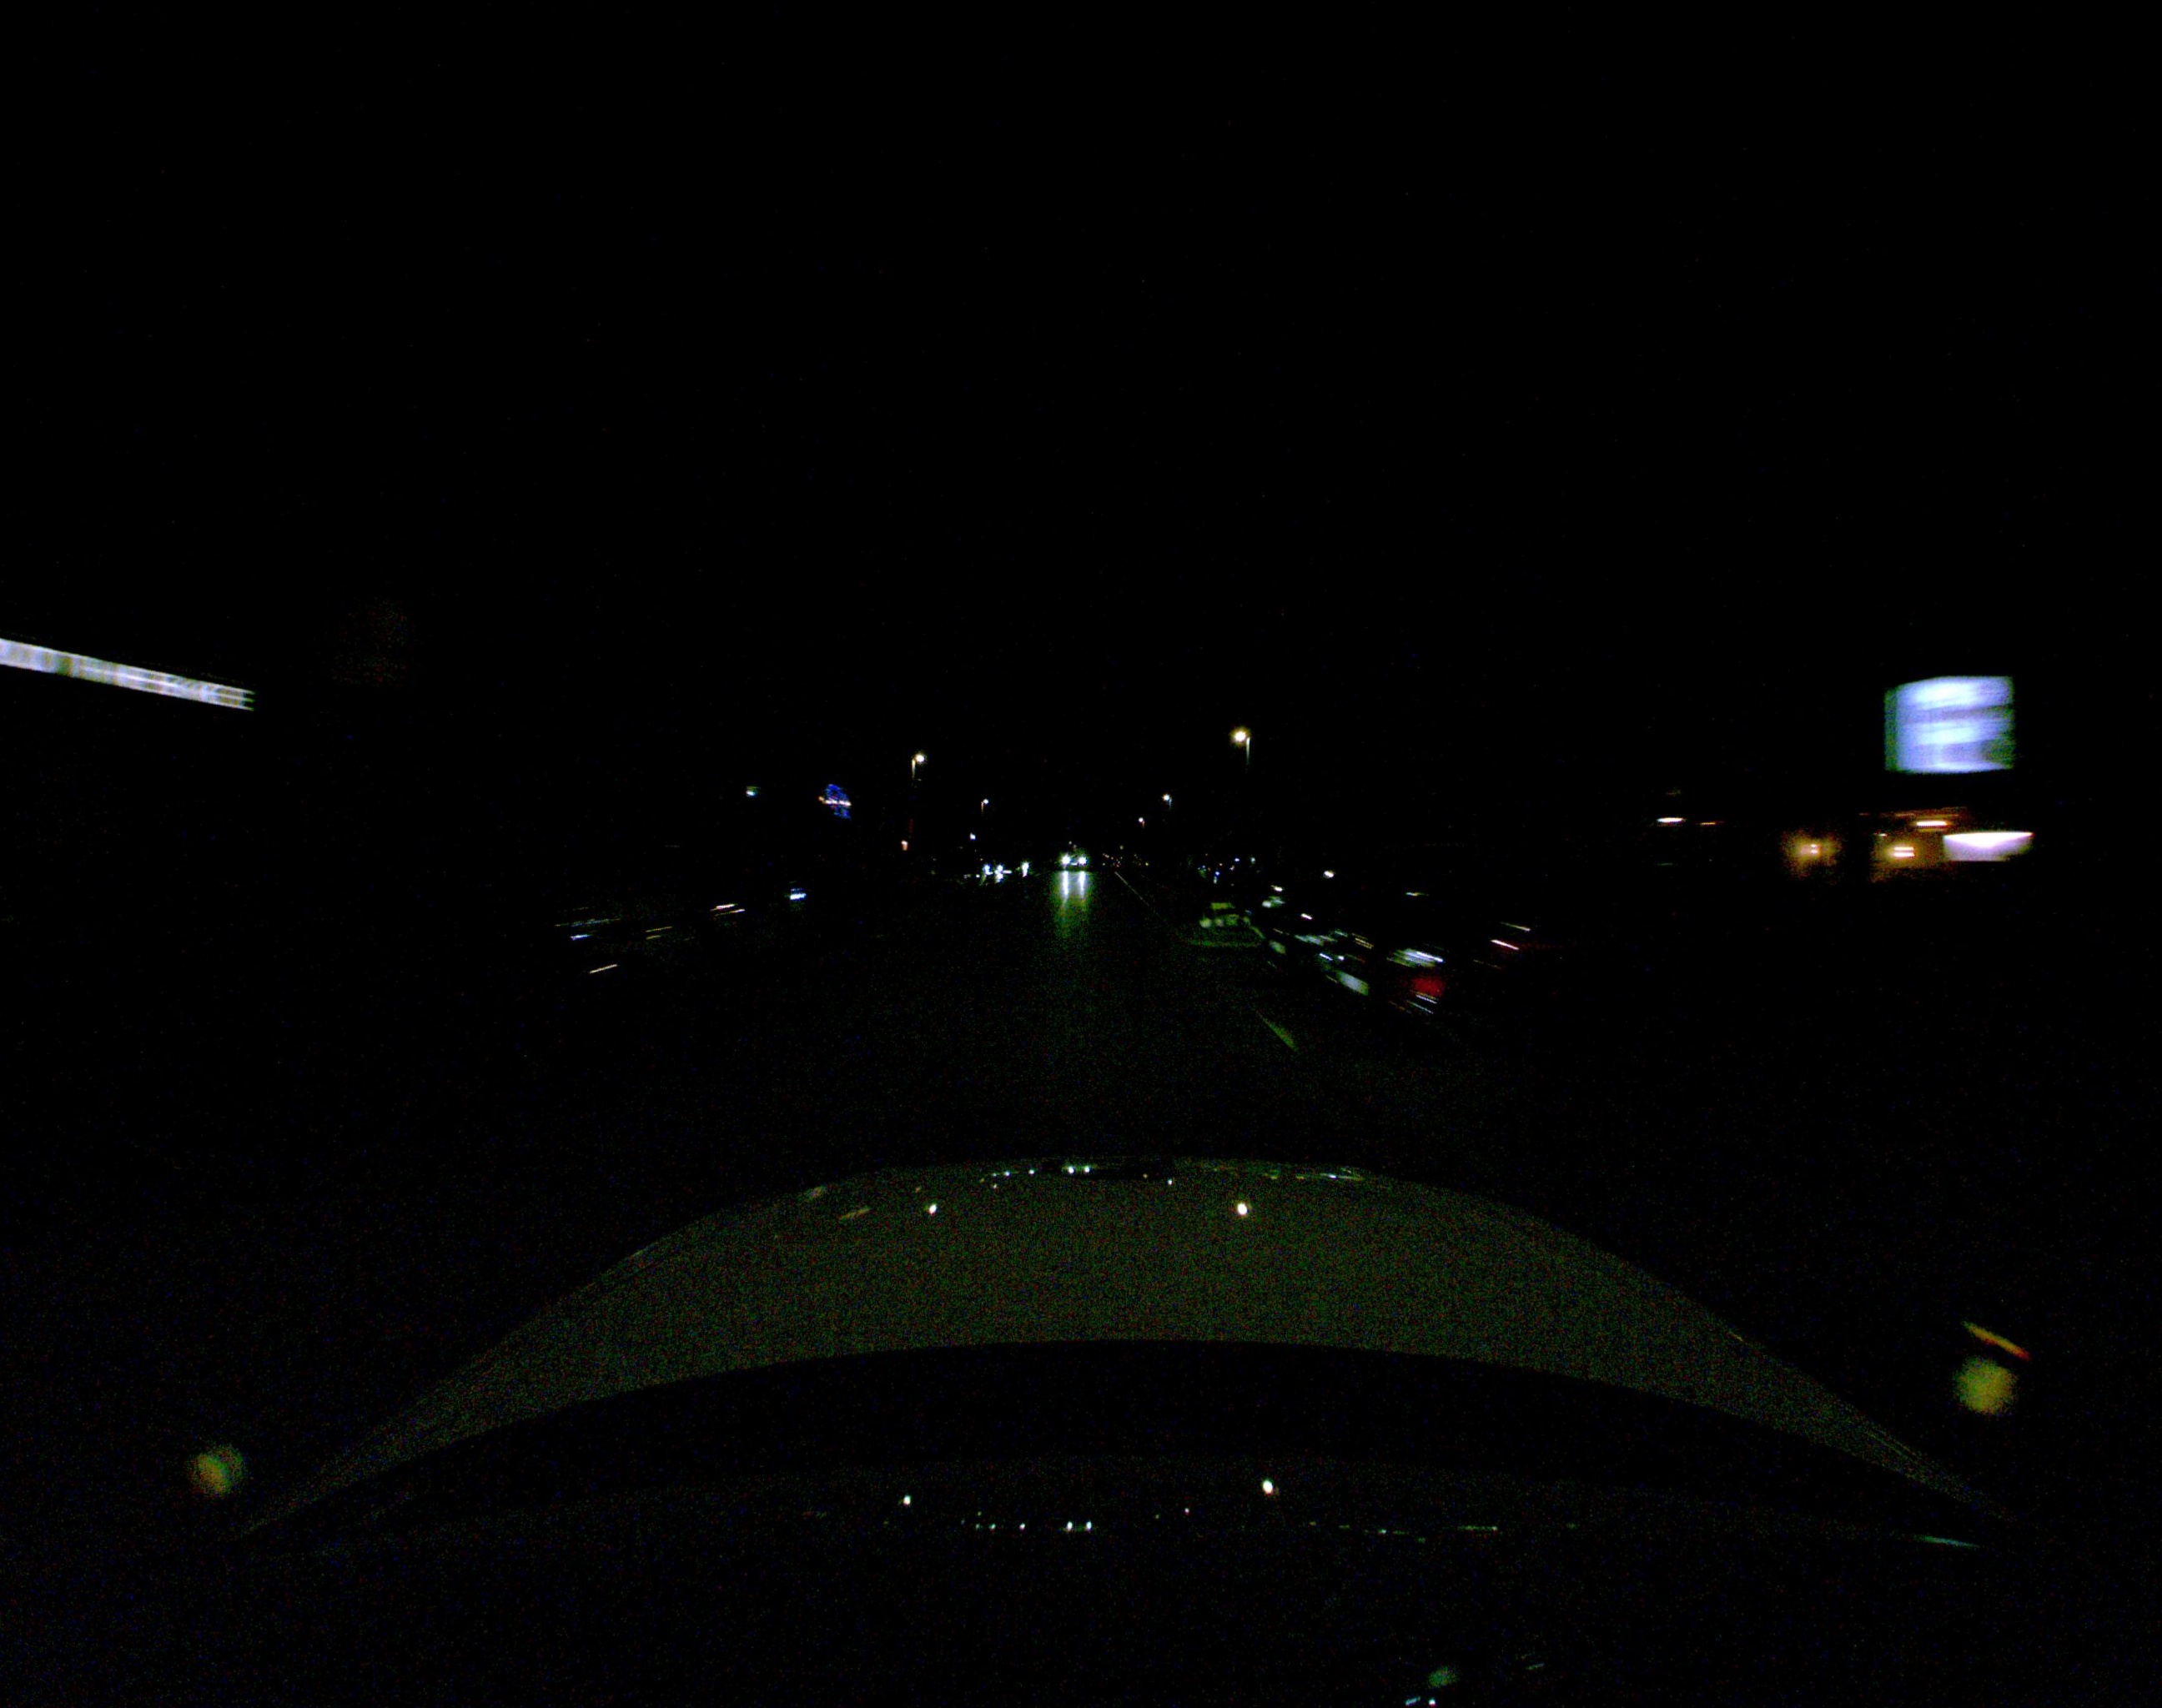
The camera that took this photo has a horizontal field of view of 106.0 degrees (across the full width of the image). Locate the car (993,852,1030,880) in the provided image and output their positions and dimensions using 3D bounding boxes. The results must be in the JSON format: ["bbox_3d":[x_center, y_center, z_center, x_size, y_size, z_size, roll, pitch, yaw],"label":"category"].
[{"bbox_3d":[-3.948,0.652,46.721,1.743,1.468,4.008,2,0,0],"label":"car"}]

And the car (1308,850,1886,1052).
[{"bbox_3d":[4.182,0.752,7.118,3.903,1.514,1.854,0,-1,0],"label":"car"}]

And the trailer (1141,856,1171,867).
[{"bbox_3d":[9.057,0.900,98.831,3.420,1.002,1.954,4,0,0],"label":"trailer"}]

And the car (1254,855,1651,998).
[{"bbox_3d":[4.220,0.787,9.684,3.906,1.514,1.853,0,0,-3],"label":"car"}]

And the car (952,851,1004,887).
[{"bbox_3d":[-4.538,0.638,36.411,1.765,1.468,3.966,2,0,0],"label":"car"}]

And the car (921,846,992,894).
[{"bbox_3d":[-4.651,0.558,31.042,1.922,1.636,4.470,2,0,0],"label":"car"}]

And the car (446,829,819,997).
[{"bbox_3d":[-5.046,0.566,10.107,2.109,1.548,4.475,2,0,-1],"label":"car"}]

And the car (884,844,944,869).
[{"bbox_3d":[-11.929,0.157,58.274,3.982,1.703,1.944,-1,0,-7],"label":"car"}]

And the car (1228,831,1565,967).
[{"bbox_3d":[4.466,0.597,12.167,4.332,1.816,2.035,0,0,6],"label":"car"}]

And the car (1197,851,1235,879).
[{"bbox_3d":[7.866,0.648,47.789,1.634,1.560,3.678,1,0,0],"label":"car"}]

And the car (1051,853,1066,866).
[{"bbox_3d":[-2.914,0.713,106.741,1.665,1.591,3.990,2,0,3],"label":"car"}]

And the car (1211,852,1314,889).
[{"bbox_3d":[7.482,0.672,33.890,3.891,1.486,1.833,0,0,0],"label":"car"}]

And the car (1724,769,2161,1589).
[{"bbox_3d":[4.011,0.628,1.592,3.897,1.551,1.990,0,0,5],"label":"car"}]

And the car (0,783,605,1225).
[{"bbox_3d":[-5.132,0.525,4.845,2.109,1.670,4.168,2,0,-1],"label":"car"}]
